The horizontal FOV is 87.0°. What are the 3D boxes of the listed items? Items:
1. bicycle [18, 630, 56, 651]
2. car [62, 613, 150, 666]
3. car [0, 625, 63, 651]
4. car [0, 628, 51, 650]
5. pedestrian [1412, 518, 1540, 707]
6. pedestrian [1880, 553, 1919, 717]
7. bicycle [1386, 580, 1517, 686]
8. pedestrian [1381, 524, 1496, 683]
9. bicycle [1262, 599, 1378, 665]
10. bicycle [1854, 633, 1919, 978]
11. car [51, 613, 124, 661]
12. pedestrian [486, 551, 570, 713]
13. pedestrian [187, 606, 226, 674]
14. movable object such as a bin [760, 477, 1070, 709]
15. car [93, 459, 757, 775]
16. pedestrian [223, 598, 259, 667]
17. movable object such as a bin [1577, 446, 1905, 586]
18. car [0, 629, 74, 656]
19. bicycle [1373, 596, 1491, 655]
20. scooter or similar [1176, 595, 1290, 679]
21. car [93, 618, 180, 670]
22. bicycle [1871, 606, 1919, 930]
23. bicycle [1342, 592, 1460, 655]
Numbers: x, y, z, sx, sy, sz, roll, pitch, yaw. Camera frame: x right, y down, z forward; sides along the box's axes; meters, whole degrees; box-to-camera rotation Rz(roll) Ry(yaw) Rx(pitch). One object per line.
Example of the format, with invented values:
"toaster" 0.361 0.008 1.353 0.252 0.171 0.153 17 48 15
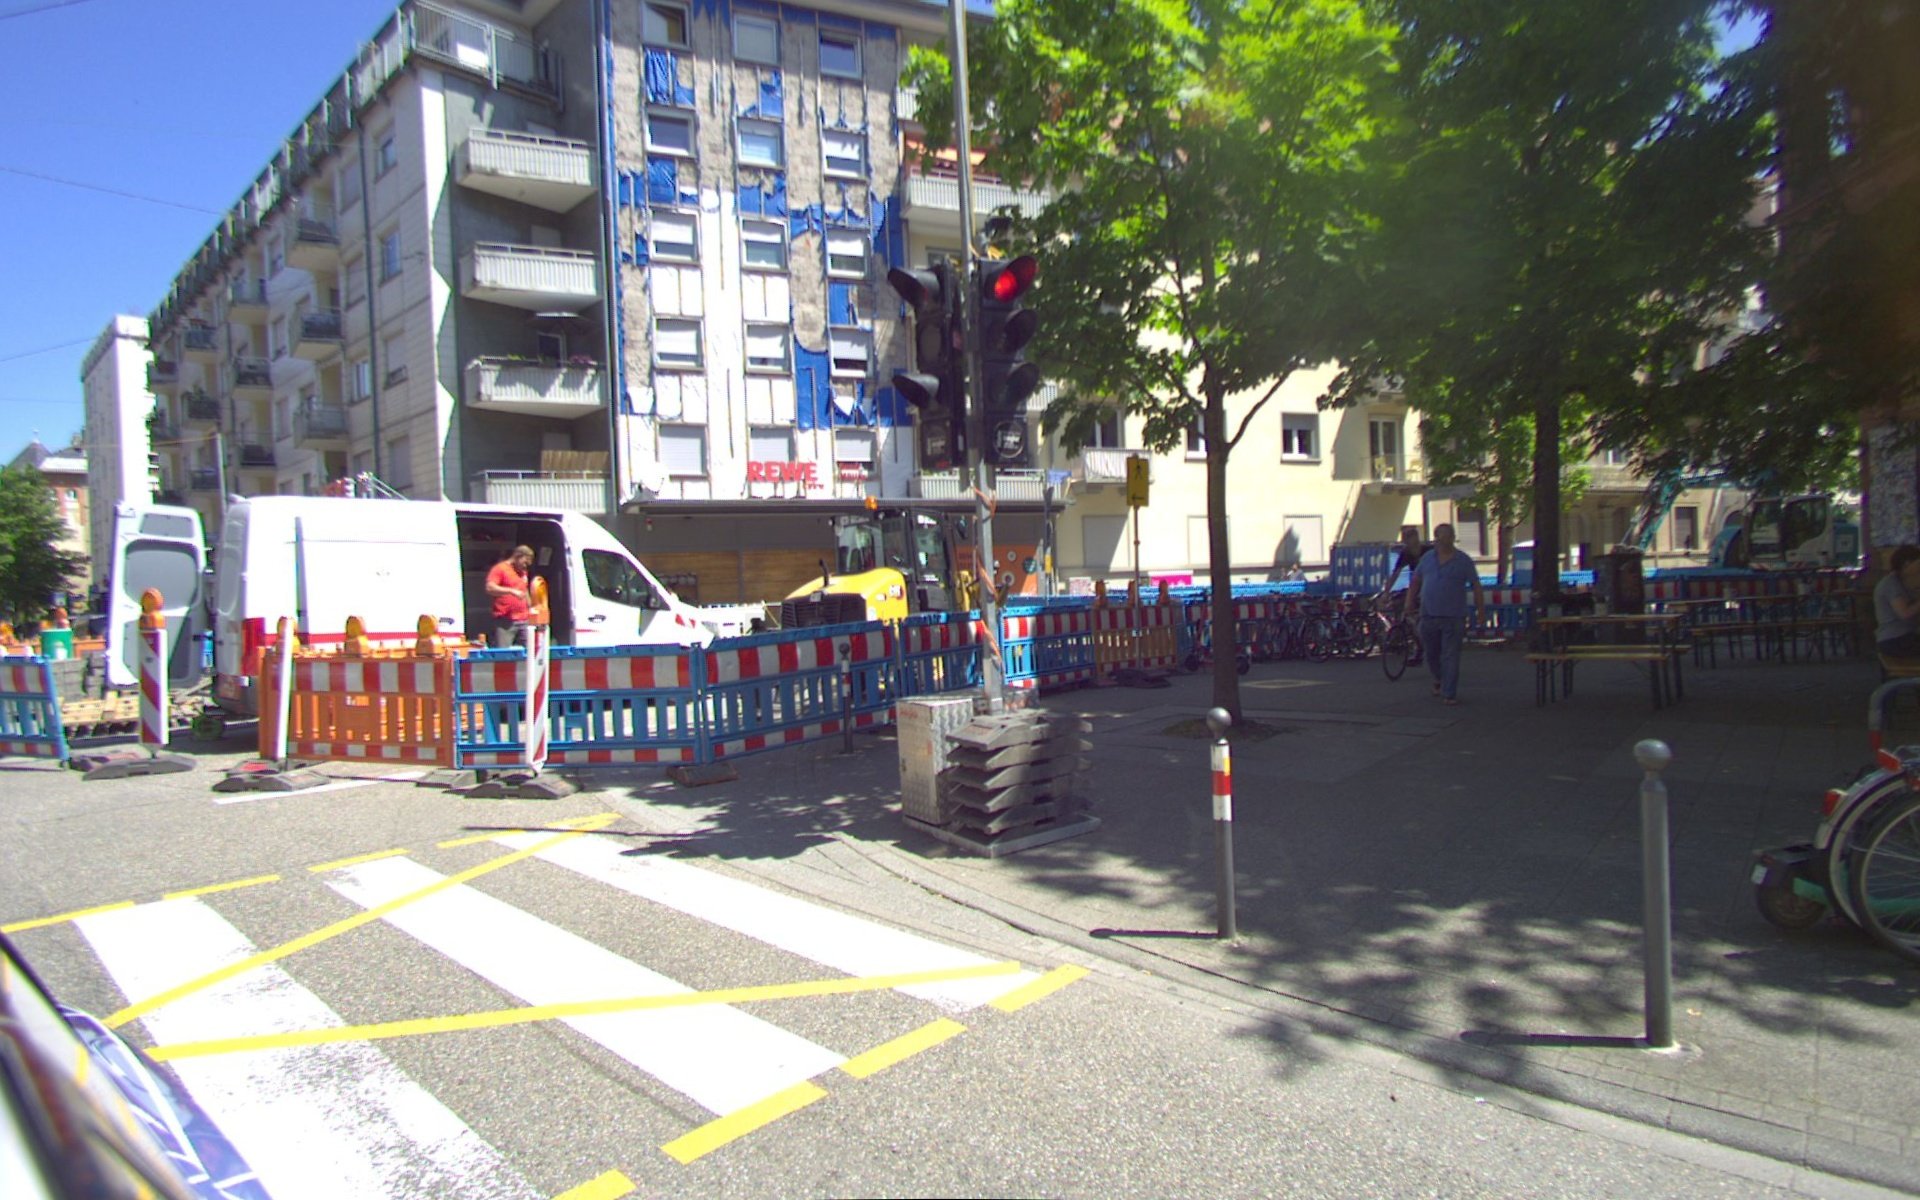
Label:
"bicycle" -54.691 2.418 59.991 1.586 1.098 0.371 -5 2 -42
"car" -32.676 1.476 38.683 4.696 1.825 1.771 -2 1 40
"car" -70.954 2.887 77.043 1.652 1.760 3.834 -2 0 42
"car" -75.116 3.111 80.620 1.652 1.507 3.834 -2 0 42
"pedestrian" 4.966 0.108 9.743 0.930 1.717 0.631 -2 2 39
"pedestrian" 7.500 0.254 7.631 0.591 1.229 0.556 -2 0 9
"bicycle" 6.088 0.366 12.458 2.253 1.095 0.602 -5 2 -42
"pedestrian" 5.799 0.025 12.261 0.992 1.803 0.866 -5 2 -40
"bicycle" 5.738 0.494 16.249 0.483 0.971 1.817 -3 1 -32
"bicycle" 4.027 0.650 3.059 1.891 1.089 0.487 -2 2 30
"car" -37.223 1.566 43.136 4.900 1.842 1.769 -2 1 43
"pedestrian" -4.948 0.354 11.578 0.769 1.766 0.519 -2 2 43
"pedestrian" -19.713 1.035 26.469 0.632 1.739 0.649 -2 0 41
"movable object such as a bin" -0.427 -0.060 14.091 1.949 2.679 4.507 -4 -1 33
"car" -5.873 0.073 12.066 2.380 2.772 6.548 -1 1 44
"pedestrian" -16.989 0.763 23.916 0.489 1.577 0.461 -5 1 -21
"movable object such as a bin" 20.392 -2.145 26.574 6.635 3.236 3.325 -3 1 -14
"car" -61.953 2.811 67.693 1.652 1.540 3.834 -2 0 42
"bicycle" 7.995 0.417 17.222 0.483 0.942 1.817 -3 1 -32
"scooter or similar" 3.857 0.511 14.362 1.473 1.114 0.518 -2 1 44
"car" -27.708 1.467 33.991 4.464 1.536 1.652 -2 2 44
"bicycle" 4.226 0.589 3.435 1.614 1.165 0.335 -2 2 30
"bicycle" 7.357 0.405 16.984 0.483 0.996 1.817 -3 -1 -32
